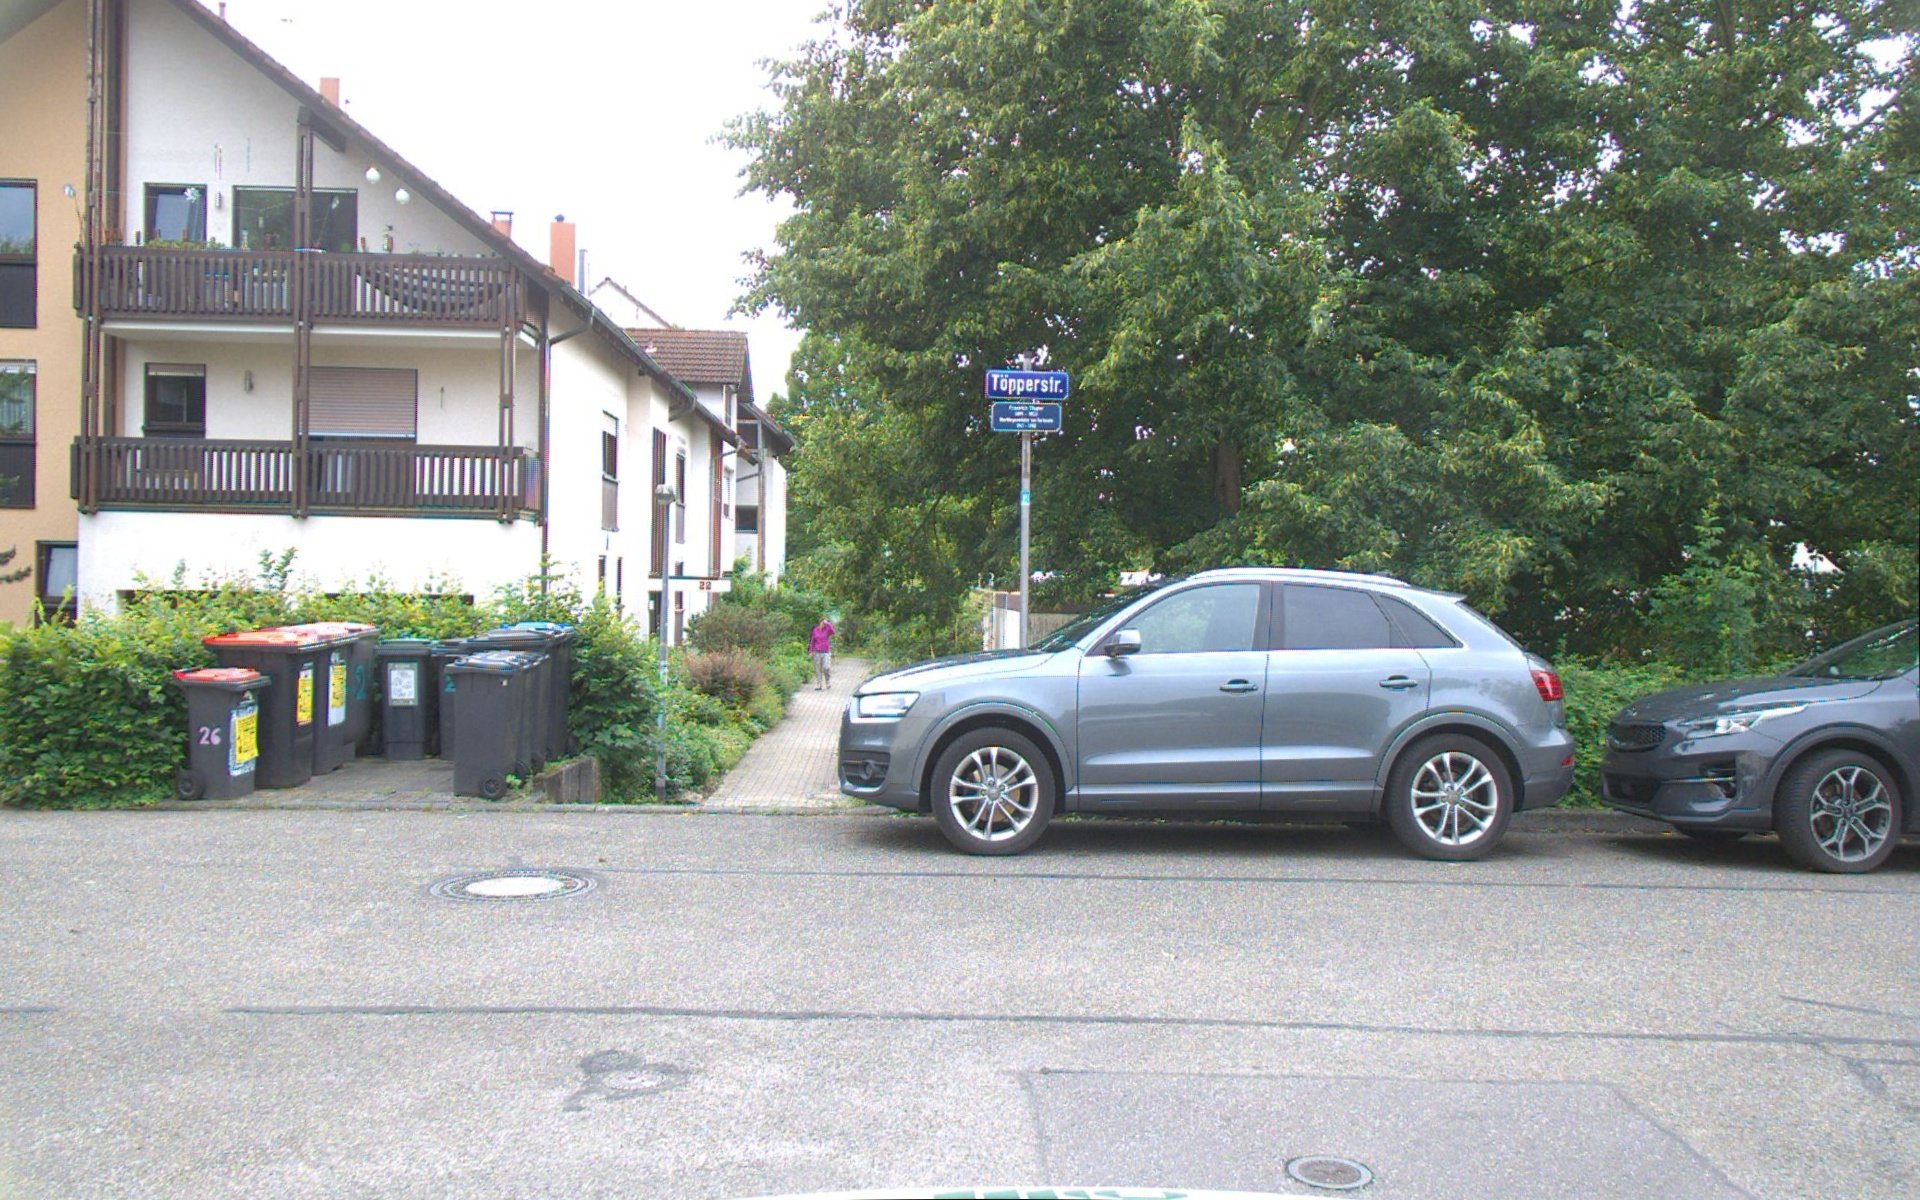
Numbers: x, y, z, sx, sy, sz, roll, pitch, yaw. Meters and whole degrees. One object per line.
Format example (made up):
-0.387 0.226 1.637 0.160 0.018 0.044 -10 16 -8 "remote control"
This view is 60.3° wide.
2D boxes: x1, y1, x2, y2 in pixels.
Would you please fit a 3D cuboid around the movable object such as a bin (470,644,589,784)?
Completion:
-3.170 0.828 12.223 0.719 0.970 0.584 2 0 -3 "movable object such as a bin"

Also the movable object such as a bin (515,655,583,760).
-3.324 0.868 13.396 0.450 0.811 0.379 2 0 -5 "movable object such as a bin"

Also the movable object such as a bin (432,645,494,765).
-3.915 0.821 13.039 0.378 0.905 0.379 2 0 -5 "movable object such as a bin"

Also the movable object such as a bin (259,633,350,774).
-4.884 0.768 12.330 0.526 1.011 0.337 2 0 -5 "movable object such as a bin"

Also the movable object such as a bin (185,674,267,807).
-4.956 0.942 11.180 0.378 0.851 0.379 2 0 -5 "movable object such as a bin"

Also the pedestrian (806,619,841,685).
-3.223 1.223 39.013 0.799 1.544 0.438 0 0 -5 "pedestrian"

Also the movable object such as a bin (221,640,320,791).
-4.832 0.804 11.606 0.526 1.011 0.379 2 0 -5 "movable object such as a bin"

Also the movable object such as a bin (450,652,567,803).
-3.127 0.872 11.509 0.625 0.970 0.722 2 0 -3 "movable object such as a bin"

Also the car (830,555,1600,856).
1.360 0.589 9.732 4.152 1.558 1.746 1 -1 -3 "car"

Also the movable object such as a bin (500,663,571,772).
-3.324 0.913 12.973 0.450 0.811 0.379 2 0 -3 "movable object such as a bin"

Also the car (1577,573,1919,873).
5.933 0.686 9.563 4.094 1.558 1.748 1 -1 2 "car"

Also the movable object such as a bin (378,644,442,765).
-4.322 0.817 13.003 0.378 0.917 0.379 2 0 -5 "movable object such as a bin"

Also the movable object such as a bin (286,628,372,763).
-4.901 0.736 12.855 0.526 1.011 0.337 2 0 -5 "movable object such as a bin"

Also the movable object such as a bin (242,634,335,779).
-4.857 0.765 11.977 0.526 1.011 0.337 2 0 -5 "movable object such as a bin"
